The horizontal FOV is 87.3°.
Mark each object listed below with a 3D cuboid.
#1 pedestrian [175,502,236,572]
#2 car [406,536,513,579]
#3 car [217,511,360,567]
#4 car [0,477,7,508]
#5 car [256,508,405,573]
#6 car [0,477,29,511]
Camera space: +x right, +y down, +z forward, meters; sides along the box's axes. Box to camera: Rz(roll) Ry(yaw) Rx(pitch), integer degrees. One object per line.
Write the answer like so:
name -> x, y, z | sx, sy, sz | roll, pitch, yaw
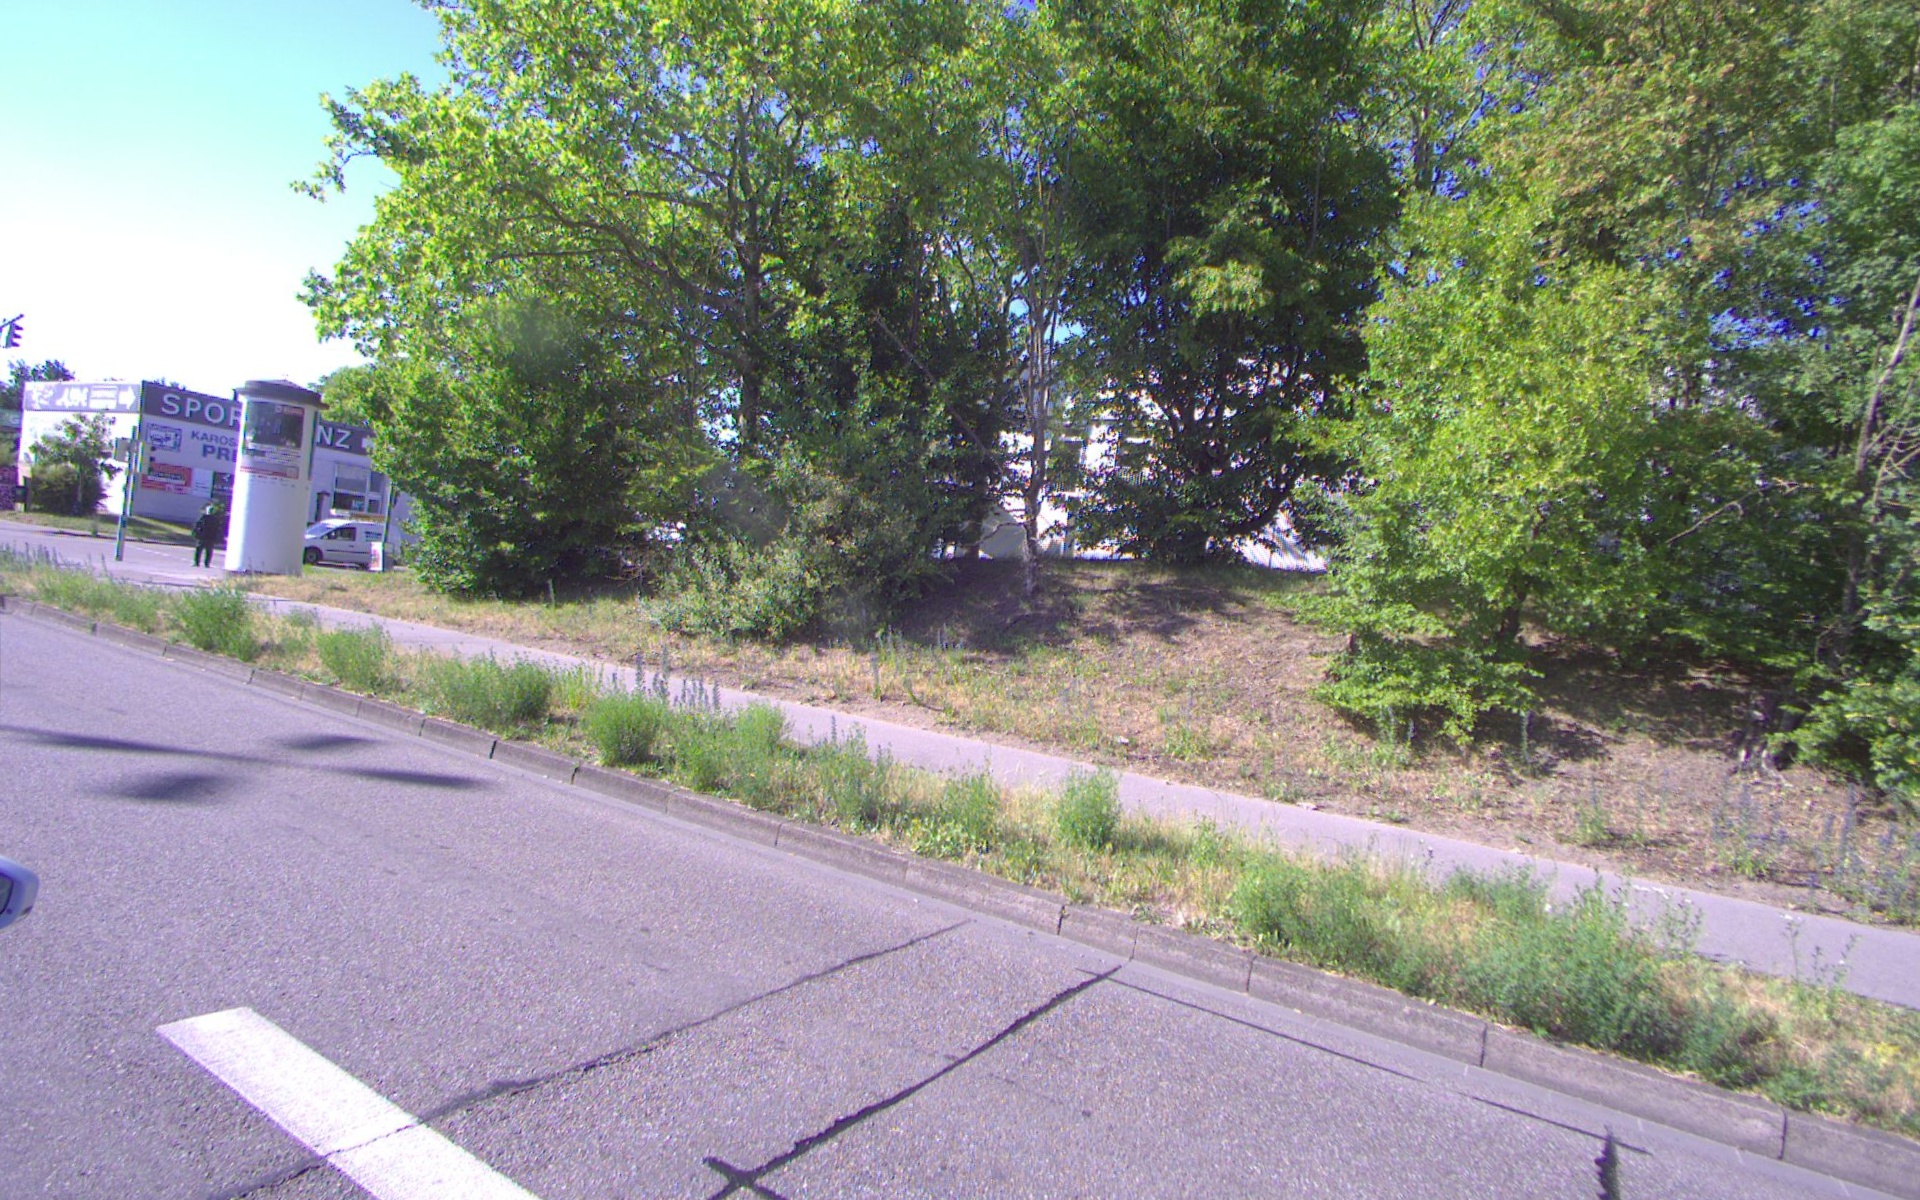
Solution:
pedestrian -> -21.021, -1.749, 28.037 | 0.923, 1.755, 0.927 | 6, -1, 31
car -> -22.979, -1.946, 46.328 | 1.752, 1.509, 4.046 | 7, 1, 30
car -> -26.605, -2.383, 40.011 | 1.735, 1.568, 4.292 | 9, 1, 30
car -> -49.223, -5.497, 48.462 | 1.828, 1.472, 4.490 | 7, 1, 33
car -> -23.829, -2.206, 38.263 | 1.735, 1.824, 4.387 | 9, 1, 30
car -> -46.872, -5.230, 47.093 | 1.828, 1.472, 4.490 | 7, 1, 33
